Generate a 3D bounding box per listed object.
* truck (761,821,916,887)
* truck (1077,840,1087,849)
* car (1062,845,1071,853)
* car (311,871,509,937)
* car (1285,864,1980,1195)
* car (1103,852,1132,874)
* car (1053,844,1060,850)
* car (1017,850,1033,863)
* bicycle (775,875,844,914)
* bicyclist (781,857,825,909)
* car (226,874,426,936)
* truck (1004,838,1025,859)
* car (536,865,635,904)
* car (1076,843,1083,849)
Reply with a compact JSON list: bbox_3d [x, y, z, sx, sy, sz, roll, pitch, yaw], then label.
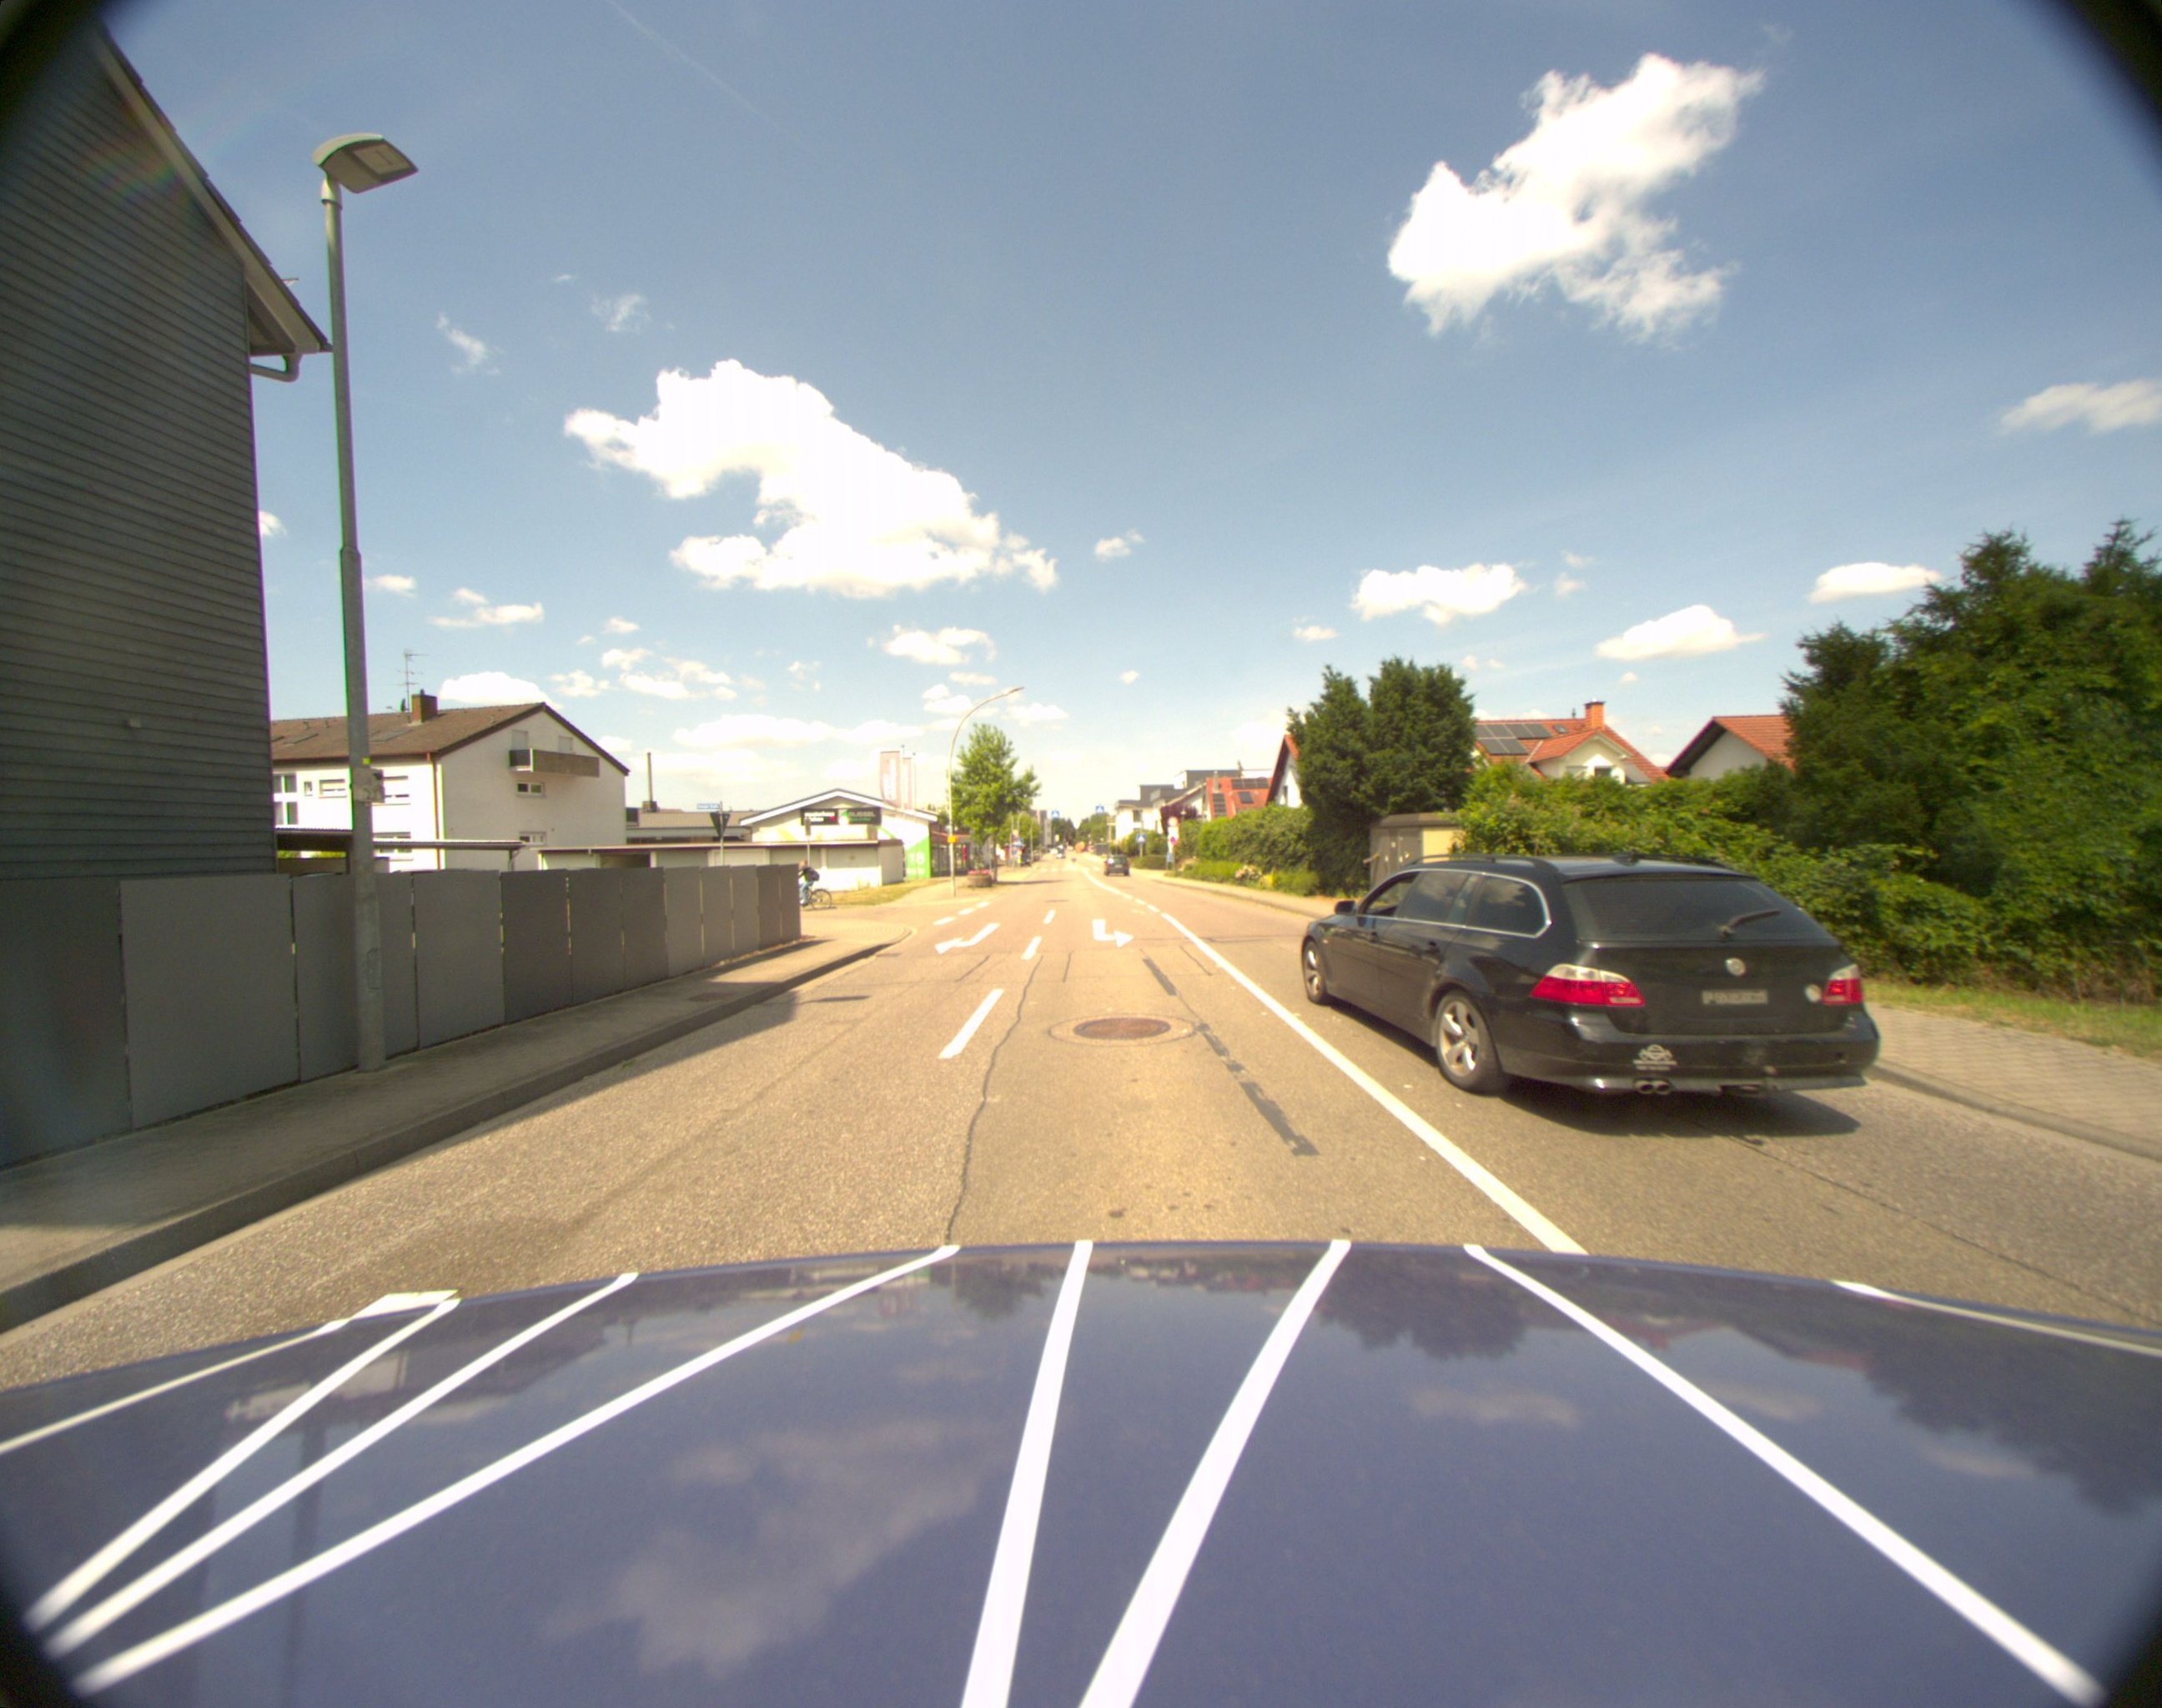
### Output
[{"bbox_3d":[-14.294,-0.041,45.195,8.192,3.553,2.676,-2,2,-2],"label":"truck"},{"bbox_3d":[0.330,-2.922,230.905,2.864,2.695,6.790,0,1,0],"label":"truck"},{"bbox_3d":[-2.715,-1.013,145.053,1.729,1.484,3.759,0,1,-1],"label":"car"},{"bbox_3d":[-18.574,1.311,21.349,1.741,1.638,4.217,-1,-1,2],"label":"car"},{"bbox_3d":[3.201,0.843,5.872,1.868,1.434,4.669,0,1,-2],"label":"car"},{"bbox_3d":[2.450,0.593,51.953,1.785,1.425,3.871,0,0,-1],"label":"car"},{"bbox_3d":[-6.418,-1.783,197.890,1.729,1.484,3.759,0,1,-1],"label":"car"},{"bbox_3d":[-6.550,0.286,89.803,1.729,1.484,3.758,0,1,-2],"label":"car"},{"bbox_3d":[-8.966,1.319,25.120,1.942,1.158,0.805,-2,1,-2],"label":"bicycle"},{"bbox_3d":[-9.168,0.943,25.081,1.111,1.620,0.805,-2,1,-2],"label":"bicyclist"},{"bbox_3d":[-21.055,1.360,21.440,1.741,1.577,3.854,-1,-1,2],"label":"car"},{"bbox_3d":[-9.217,-0.740,104.724,2.580,2.746,6.329,0,1,-7],"label":"truck"},{"bbox_3d":[-22.258,1.333,34.317,1.679,1.494,4.131,-2,1,0],"label":"car"},{"bbox_3d":[-0.399,-2.277,217.666,1.799,1.480,3.612,0,1,-1],"label":"car"}]
